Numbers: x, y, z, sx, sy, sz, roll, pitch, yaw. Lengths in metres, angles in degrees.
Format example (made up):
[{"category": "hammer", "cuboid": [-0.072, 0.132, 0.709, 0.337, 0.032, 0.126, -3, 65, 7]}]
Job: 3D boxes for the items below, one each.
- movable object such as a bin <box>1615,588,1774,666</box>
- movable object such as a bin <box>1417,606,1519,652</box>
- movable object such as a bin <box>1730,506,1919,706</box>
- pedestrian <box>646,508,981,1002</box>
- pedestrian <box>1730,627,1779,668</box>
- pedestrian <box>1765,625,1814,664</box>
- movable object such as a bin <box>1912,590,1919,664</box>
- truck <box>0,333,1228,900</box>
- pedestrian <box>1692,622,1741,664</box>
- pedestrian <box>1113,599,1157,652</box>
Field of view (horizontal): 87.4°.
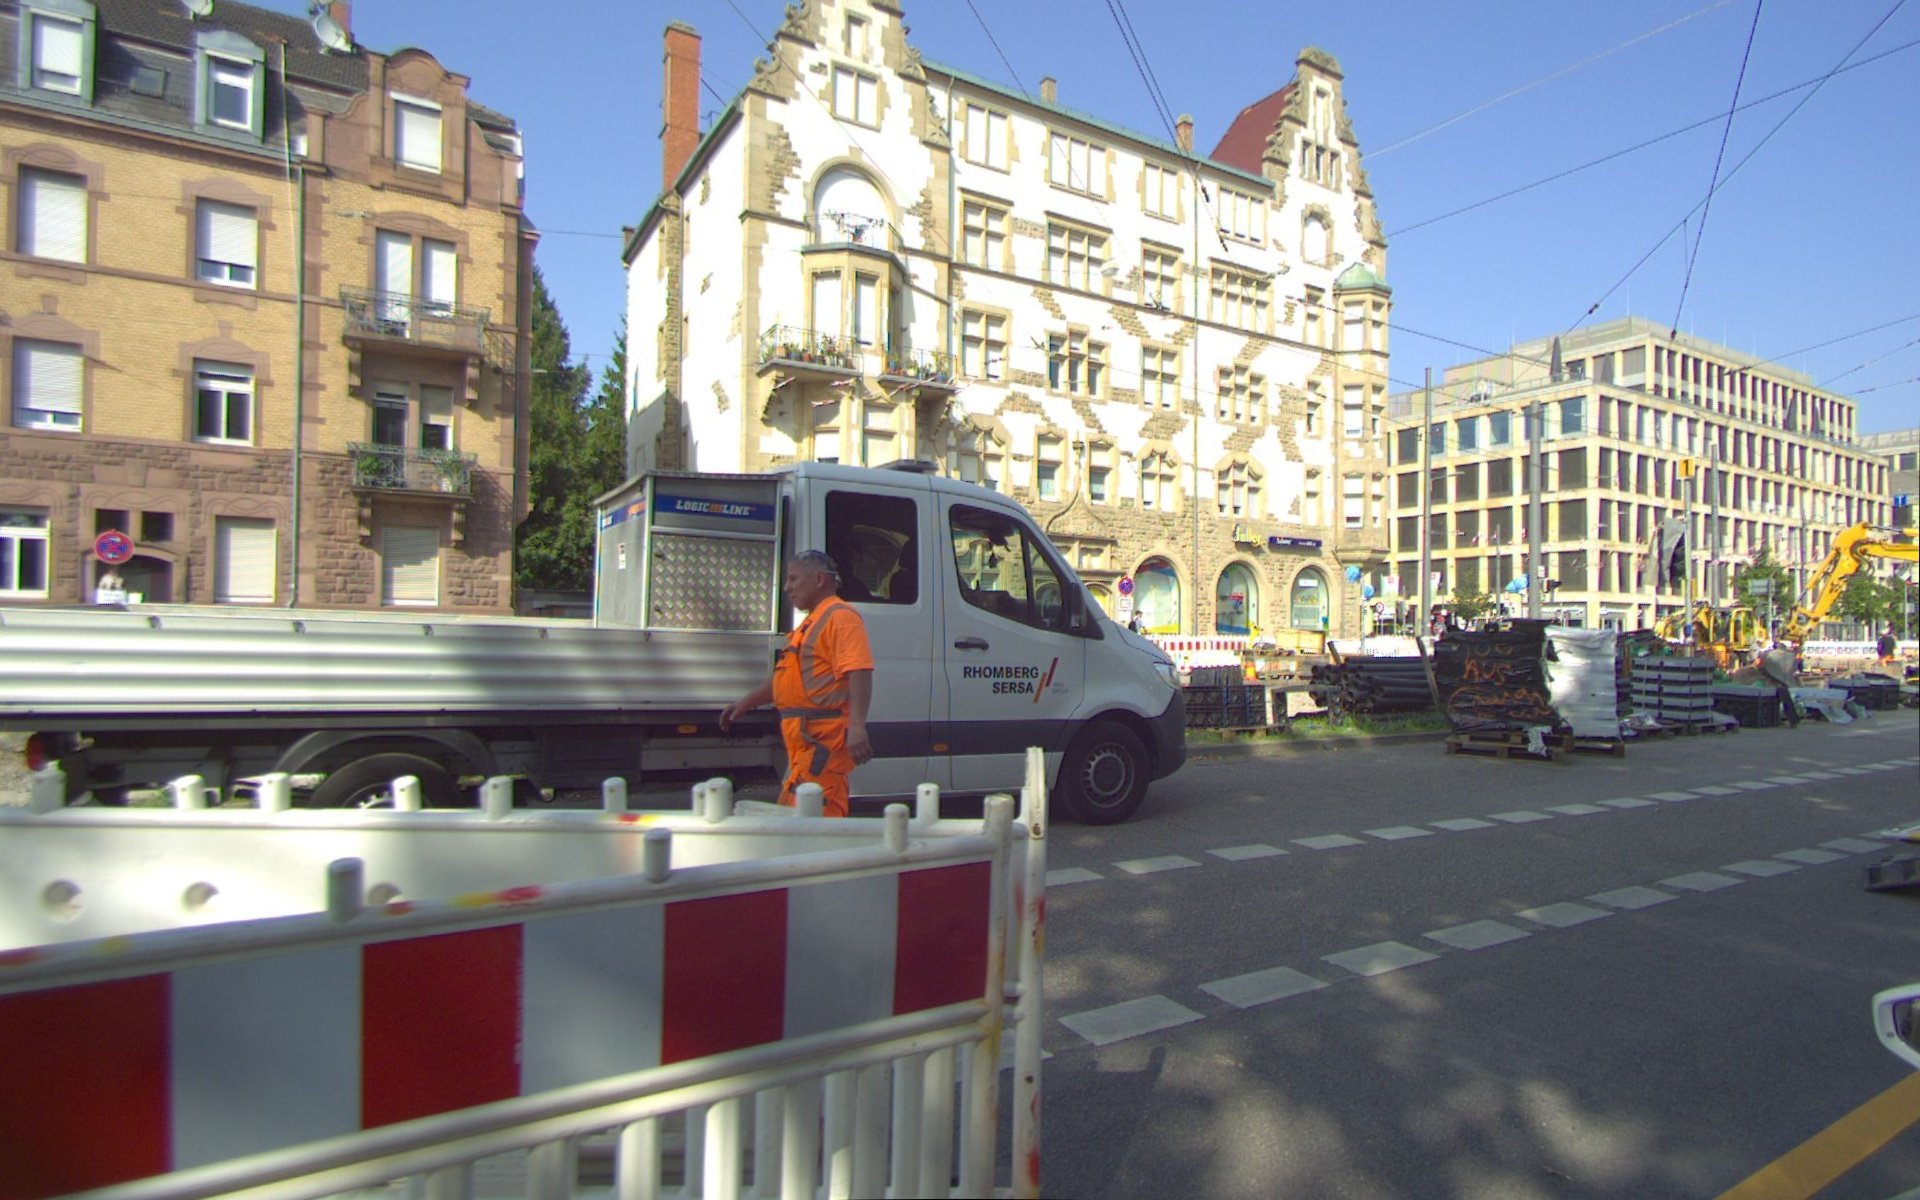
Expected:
[{"category": "movable object such as a bin", "cuboid": [34.054, 1.314, 46.506, 8.246, 3.373, 2.834, 2, -2, -30]}, {"category": "movable object such as a bin", "cuboid": [32.535, 1.869, 64.485, 2.111, 2.775, 5.585, 2, -2, -31]}, {"category": "movable object such as a bin", "cuboid": [17.278, 0.129, 17.492, 6.071, 3.390, 2.107, 0, -2, 40]}, {"category": "pedestrian", "cuboid": [-0.641, 0.569, 4.267, 1.083, 1.733, 1.026, 2, -2, -32]}, {"category": "pedestrian", "cuboid": [28.771, 1.726, 36.387, 0.907, 1.461, 1.137, 2, -2, -30]}, {"category": "pedestrian", "cuboid": [31.275, 1.669, 37.870, 1.008, 1.461, 1.137, 2, -2, -30]}, {"category": "movable object such as a bin", "cuboid": [57.379, 1.457, 54.429, 8.873, 4.066, 3.512, 0, -2, -7]}, {"category": "truck", "cuboid": [-1.626, 0.165, 6.441, 6.964, 2.251, 2.149, 1, -2, -29]}, {"category": "pedestrian", "cuboid": [26.961, 1.529, 35.793, 0.907, 1.461, 1.137, 2, -2, -30]}, {"category": "pedestrian", "cuboid": [5.931, 0.883, 34.021, 1.133, 1.764, 0.910, 2, -2, -31]}]
